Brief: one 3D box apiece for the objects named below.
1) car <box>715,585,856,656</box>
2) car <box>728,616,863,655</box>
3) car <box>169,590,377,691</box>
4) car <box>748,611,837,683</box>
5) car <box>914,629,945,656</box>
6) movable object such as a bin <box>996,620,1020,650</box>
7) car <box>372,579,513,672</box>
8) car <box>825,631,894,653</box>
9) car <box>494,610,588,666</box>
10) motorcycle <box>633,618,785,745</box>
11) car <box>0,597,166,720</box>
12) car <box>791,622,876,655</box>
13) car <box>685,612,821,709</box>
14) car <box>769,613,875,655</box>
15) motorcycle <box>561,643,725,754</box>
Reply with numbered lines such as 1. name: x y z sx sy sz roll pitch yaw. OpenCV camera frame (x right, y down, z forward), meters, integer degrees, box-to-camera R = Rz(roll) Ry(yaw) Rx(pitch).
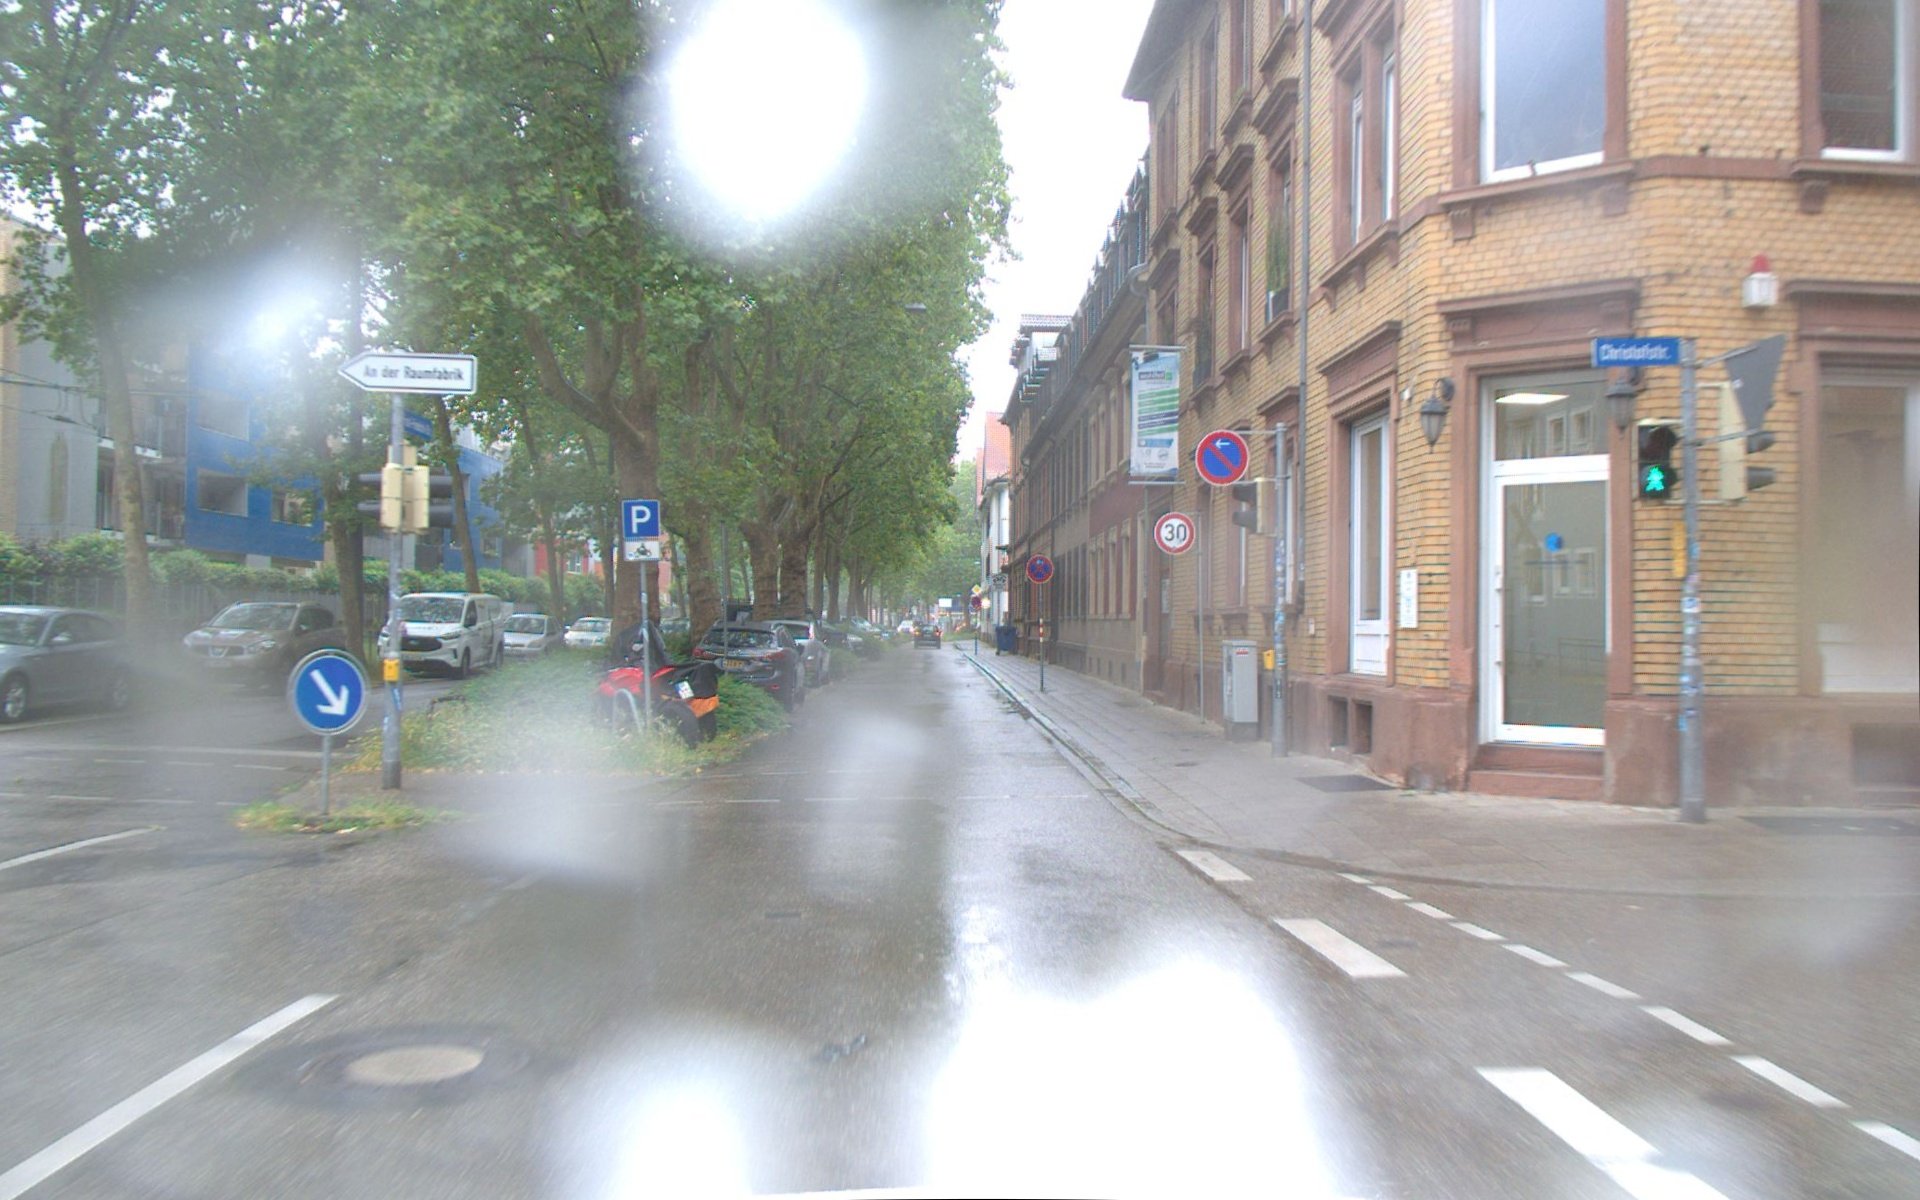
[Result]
1. car: -5.974 0.698 56.523 4.561 2.323 2.006 0 -1 32
2. car: -5.895 1.250 59.330 4.554 1.349 1.845 0 -1 26
3. car: -12.163 0.694 29.621 1.865 1.628 4.466 1 -1 -1
4. car: -3.889 1.074 39.015 1.694 1.541 4.206 2 -1 -1
5. car: -2.010 2.735 107.578 1.953 1.669 3.998 2 -1 -1
6. movable object such as a bin: 2.218 1.628 77.050 1.000 1.324 1.366 -2 0 -2
7. car: -12.544 0.612 40.462 2.014 2.032 5.429 3 -1 -5
8. car: -6.864 2.854 113.056 4.460 1.508 1.772 -1 -1 29
9. car: -12.556 1.117 49.803 1.866 1.561 4.213 1 -1 -3
10. motorcycle: -3.254 1.019 21.308 2.072 1.526 0.767 1 -2 42
11. car: -12.618 0.716 22.092 1.865 1.489 4.387 1 -1 0
12. car: -7.971 2.441 104.163 5.019 2.012 2.099 -1 -2 30
13. car: -3.566 1.013 29.282 1.858 1.511 4.620 2 -1 -1
14. car: -5.662 1.372 67.736 3.976 1.564 1.832 1 -1 29
15. motorcycle: -3.862 1.167 20.050 2.105 1.230 0.863 1 -2 44
